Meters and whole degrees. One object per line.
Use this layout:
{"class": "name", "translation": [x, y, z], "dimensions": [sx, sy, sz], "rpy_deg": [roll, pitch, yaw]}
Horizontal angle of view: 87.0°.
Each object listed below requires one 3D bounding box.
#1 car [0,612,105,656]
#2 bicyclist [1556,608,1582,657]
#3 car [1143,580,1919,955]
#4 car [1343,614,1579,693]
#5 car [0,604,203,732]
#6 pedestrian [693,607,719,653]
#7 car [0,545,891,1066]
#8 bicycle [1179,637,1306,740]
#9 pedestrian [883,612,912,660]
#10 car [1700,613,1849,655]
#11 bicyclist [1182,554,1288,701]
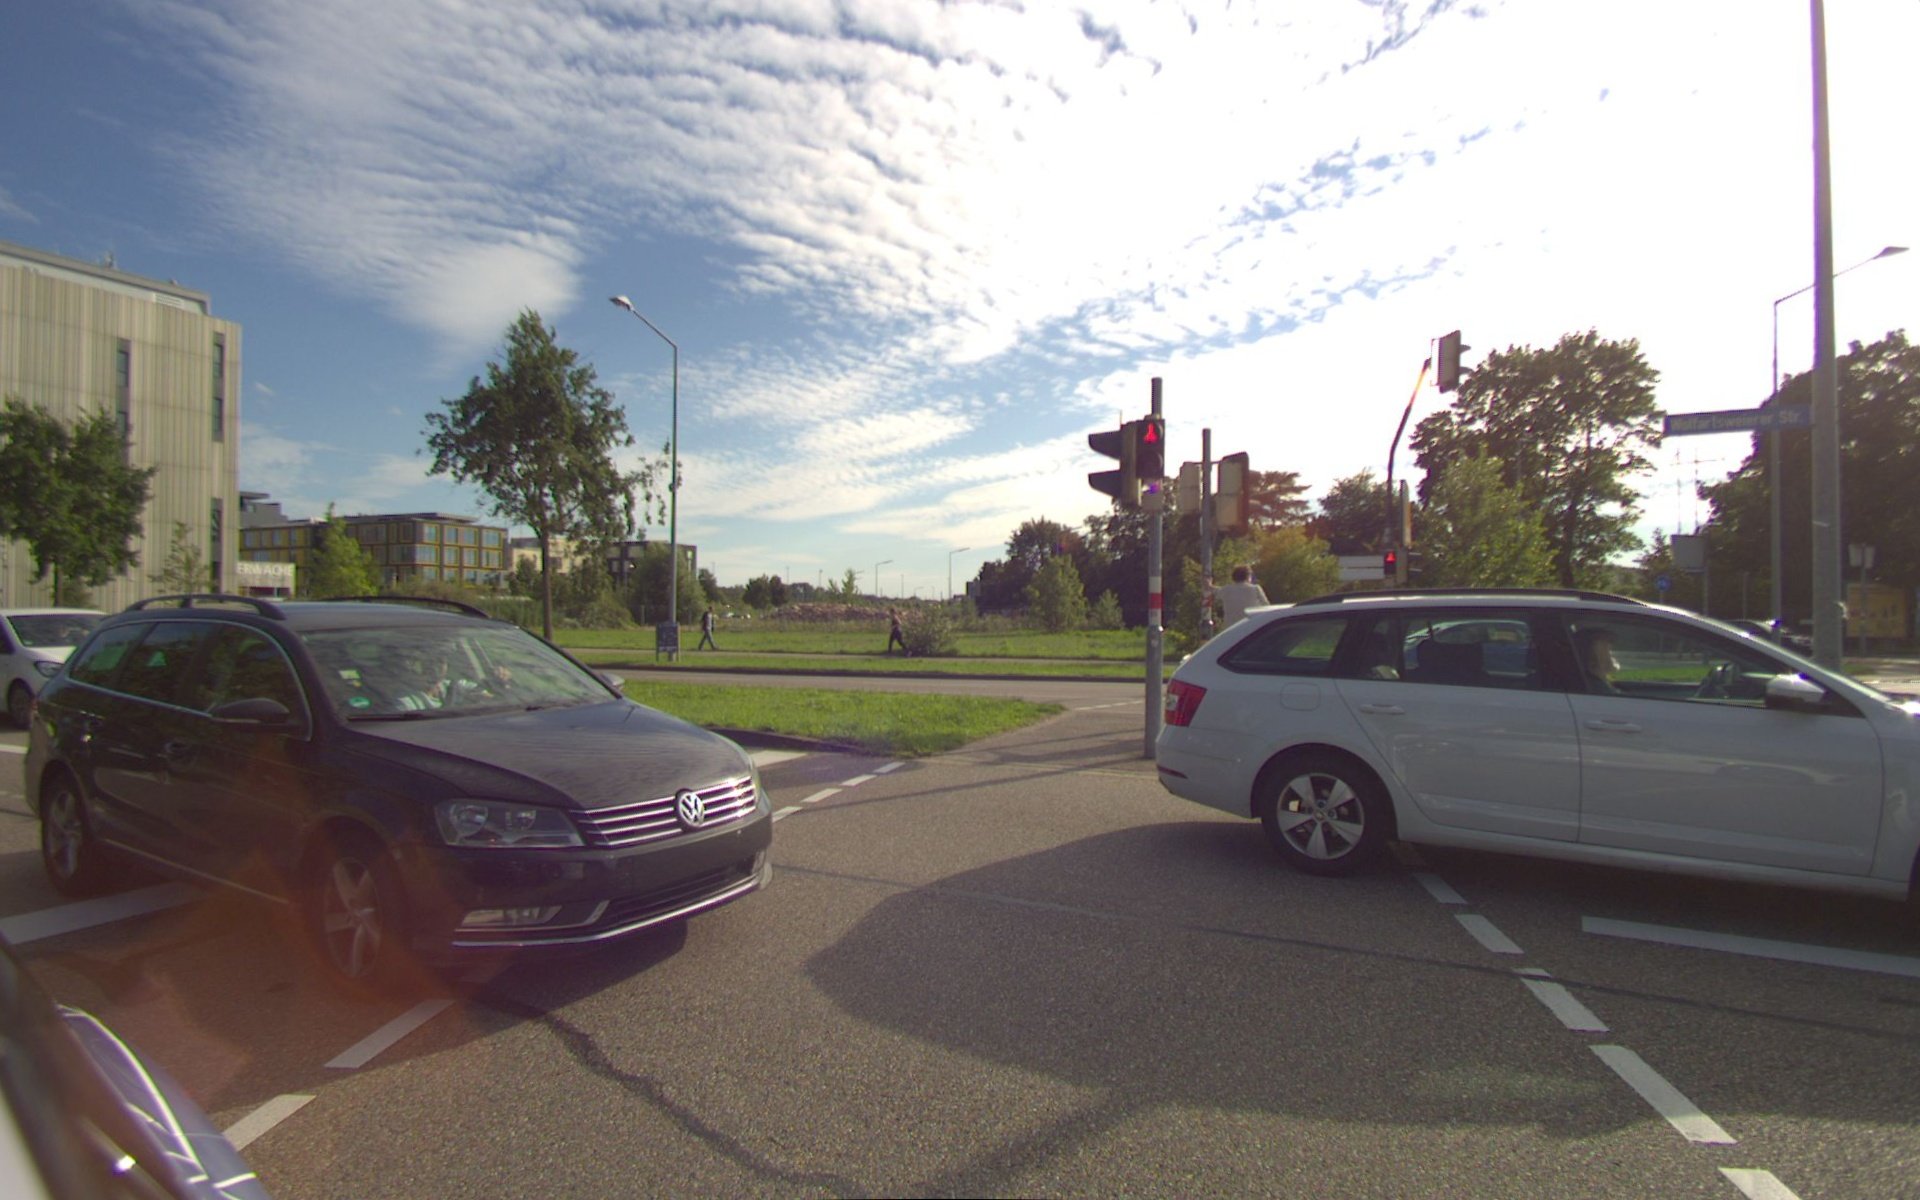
{"class": "car", "translation": [-32.066, 1.157, 35.120], "dimensions": [3.956, 1.445, 1.678], "rpy_deg": [0, -1, 15]}
{"class": "bicyclist", "translation": [18.339, 0.962, 30.478], "dimensions": [0.610, 1.456, 0.690], "rpy_deg": [-1, -1, 36]}
{"class": "car", "translation": [3.457, 0.651, 5.198], "dimensions": [4.625, 1.456, 1.836], "rpy_deg": [0, 0, 33]}
{"class": "car", "translation": [10.206, 1.099, 20.881], "dimensions": [3.945, 1.513, 1.780], "rpy_deg": [0, -3, 6]}
{"class": "car", "translation": [-12.004, 0.806, 13.322], "dimensions": [3.638, 1.475, 1.753], "rpy_deg": [0, 0, 24]}
{"class": "pedestrian", "translation": [-9.384, 1.102, 37.401], "dimensions": [0.654, 1.642, 0.623], "rpy_deg": [-1, 0, 26]}
{"class": "car", "translation": [-2.904, 0.601, 5.117], "dimensions": [4.824, 1.578, 1.980], "rpy_deg": [0, 1, 30]}
{"class": "bicycle", "translation": [3.254, 0.947, 11.515], "dimensions": [0.997, 1.015, 1.942], "rpy_deg": [0, -1, 28]}
{"class": "pedestrian", "translation": [-2.045, 1.174, 32.974], "dimensions": [0.751, 1.519, 0.624], "rpy_deg": [0, 2, 20]}
{"class": "car", "translation": [30.460, 1.245, 37.994], "dimensions": [1.656, 1.513, 4.007], "rpy_deg": [1, -1, -24]}
{"class": "bicyclist", "translation": [3.106, 0.303, 11.420], "dimensions": [0.993, 1.567, 0.857], "rpy_deg": [0, -1, 29]}
